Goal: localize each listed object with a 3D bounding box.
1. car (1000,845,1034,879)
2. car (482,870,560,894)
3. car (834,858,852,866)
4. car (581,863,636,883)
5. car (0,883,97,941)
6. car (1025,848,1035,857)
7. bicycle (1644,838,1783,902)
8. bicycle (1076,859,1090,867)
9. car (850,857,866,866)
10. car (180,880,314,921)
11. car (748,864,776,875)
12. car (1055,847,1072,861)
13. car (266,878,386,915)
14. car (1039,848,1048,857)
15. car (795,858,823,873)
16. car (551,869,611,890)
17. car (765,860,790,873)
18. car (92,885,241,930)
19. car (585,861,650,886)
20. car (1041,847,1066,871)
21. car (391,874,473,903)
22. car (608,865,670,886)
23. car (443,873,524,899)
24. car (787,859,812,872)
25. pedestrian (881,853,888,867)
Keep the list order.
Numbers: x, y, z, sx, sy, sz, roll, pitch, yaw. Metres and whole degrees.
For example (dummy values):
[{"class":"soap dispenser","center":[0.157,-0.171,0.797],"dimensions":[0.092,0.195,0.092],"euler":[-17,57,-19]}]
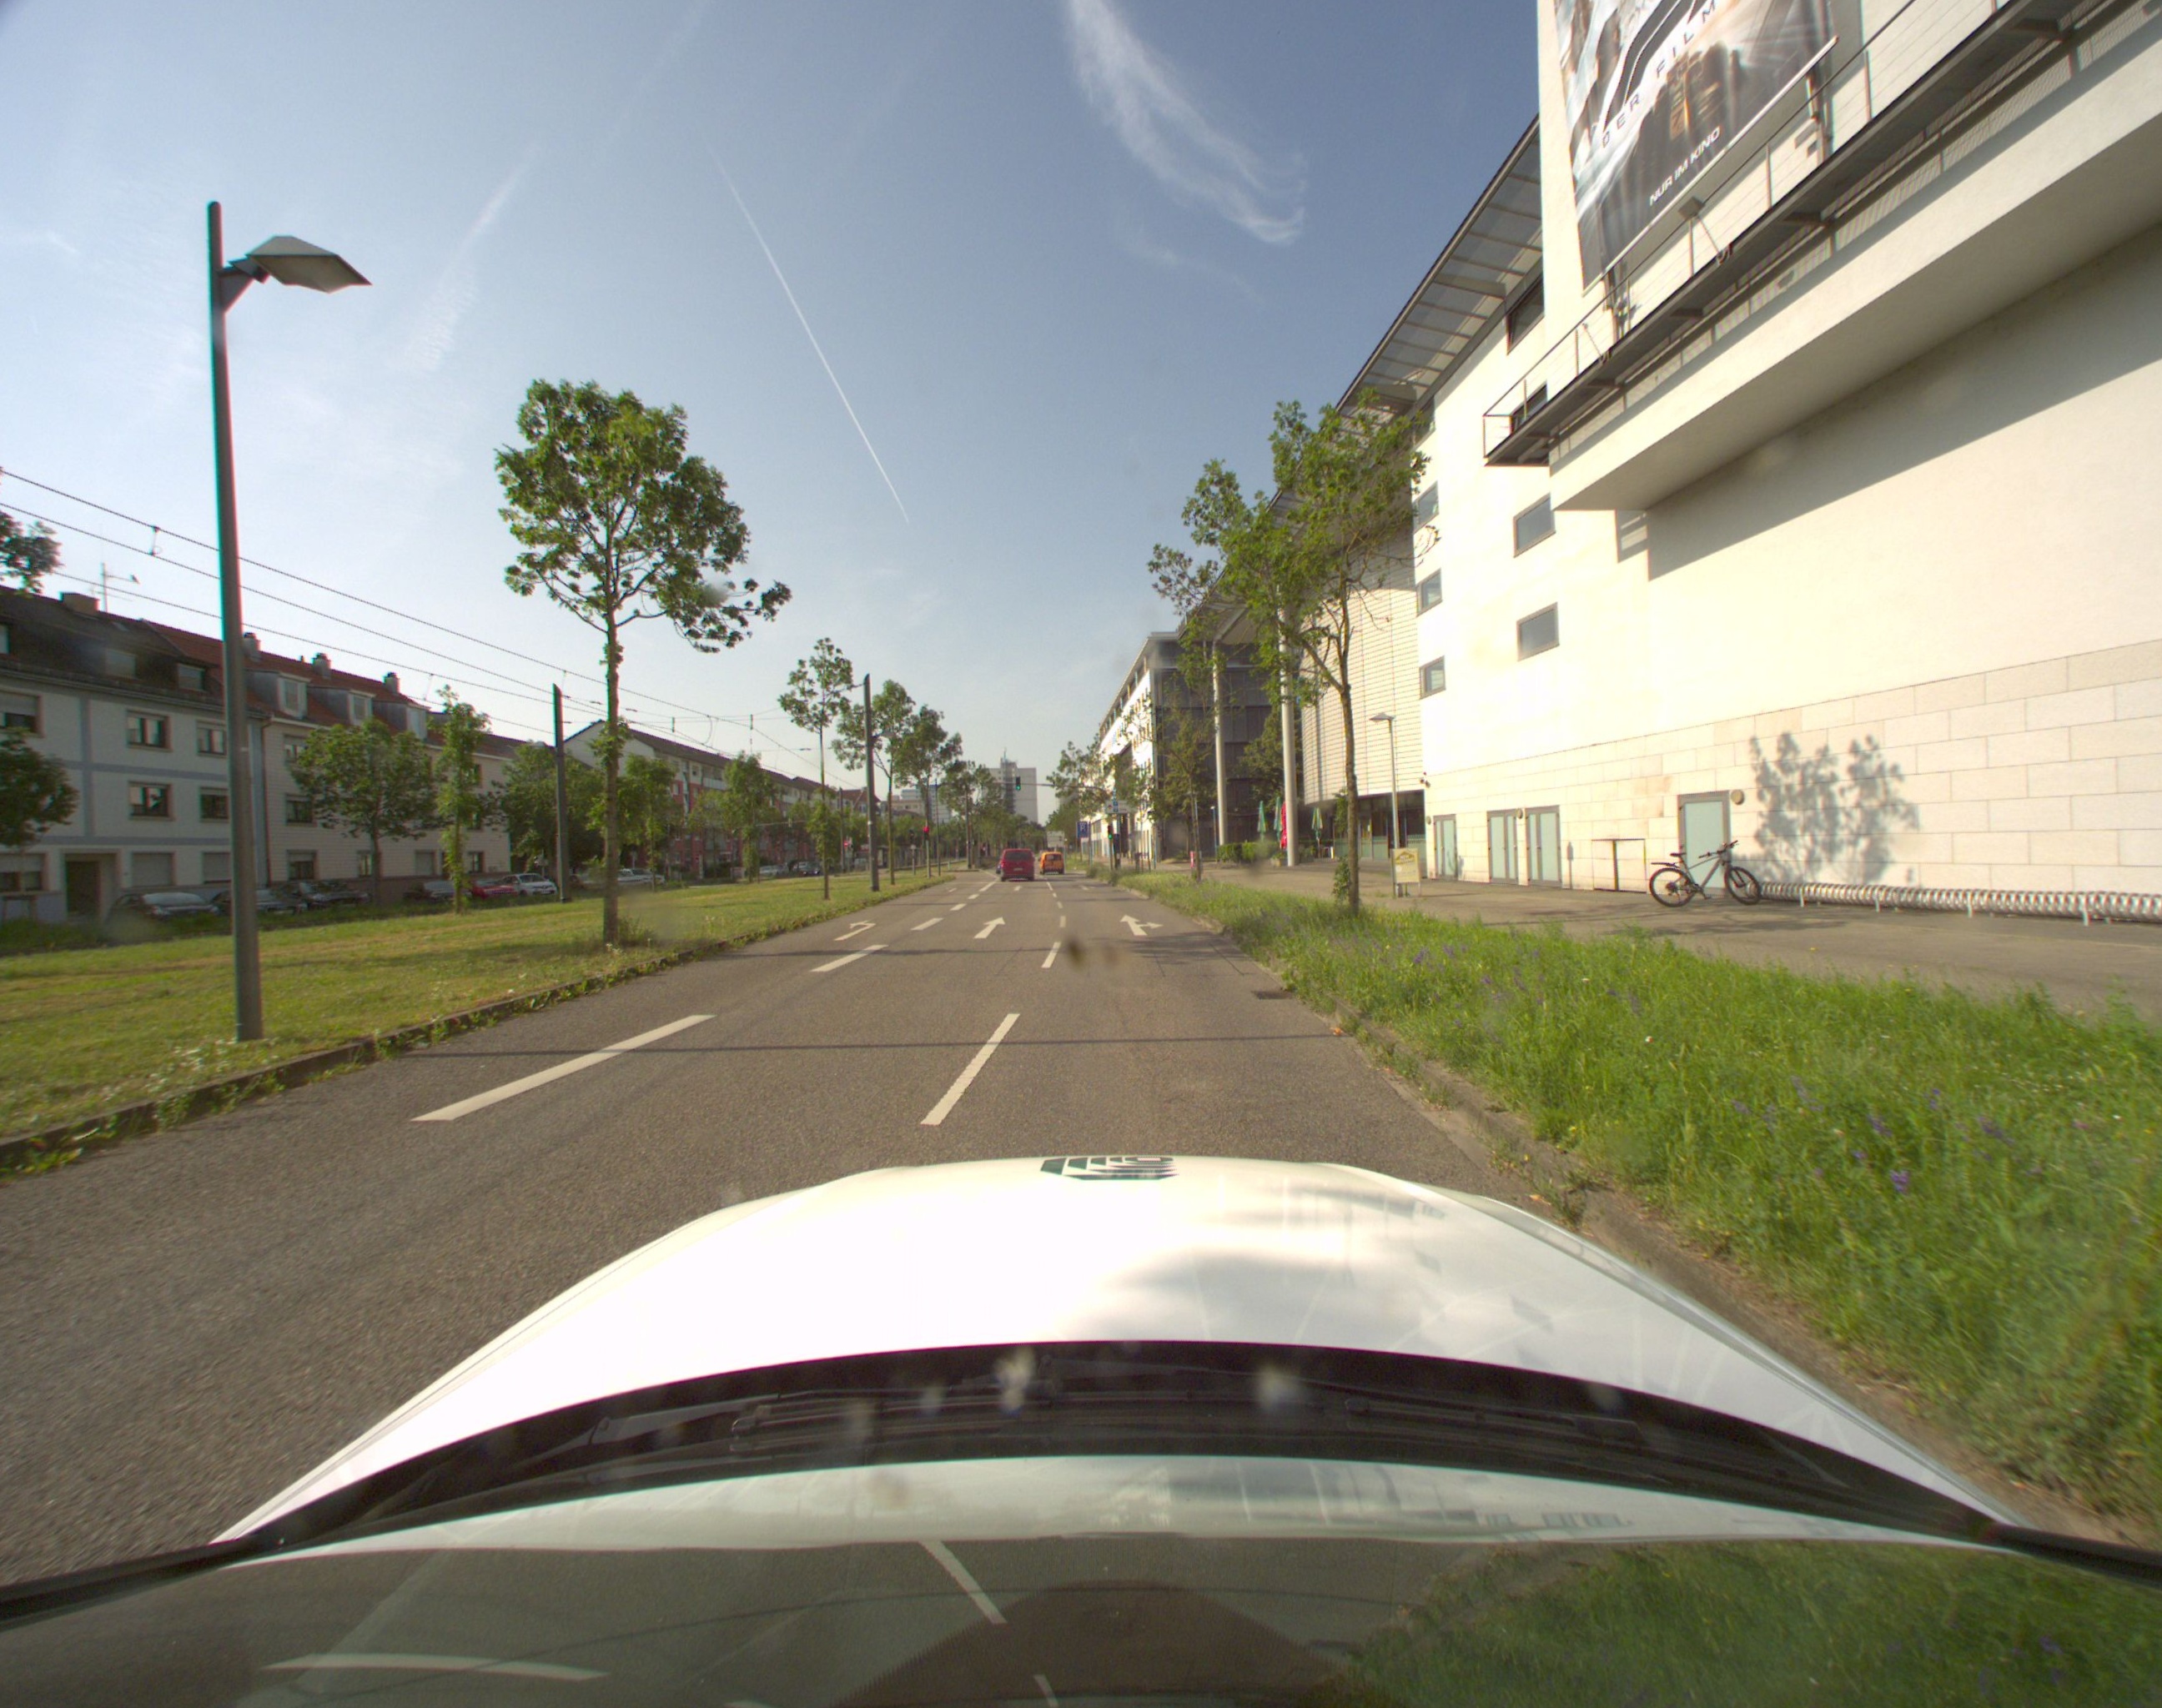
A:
[{"class":"car","center":[-3.710,0.430,47.242],"dimensions":[1.871,1.853,3.993],"euler":[-2,0,-5]},{"class":"car","center":[-31.208,1.526,45.386],"dimensions":[3.950,1.269,1.898],"euler":[0,0,26]},{"class":"car","center":[-38.678,1.299,132.525],"dimensions":[1.977,1.360,4.063],"euler":[0,0,-4]},{"class":"car","center":[-45.357,1.790,78.245],"dimensions":[3.978,1.695,1.998],"euler":[-2,0,-3]},{"class":"car","center":[-29.080,1.539,22.282],"dimensions":[3.735,1.376,1.673],"euler":[0,0,22]},{"class":"car","center":[-11.350,-0.281,181.631],"dimensions":[1.990,2.013,3.993],"euler":[-2,0,-5]},{"class":"bicycle","center":[11.527,0.284,14.875],"dimensions":[2.001,1.102,0.675],"euler":[-2,0,0]},{"class":"bicycle","center":[0.225,0.900,79.064],"dimensions":[1.265,0.632,0.521],"euler":[-8,-1,3]},{"class":"car","center":[-39.198,1.319,143.207],"dimensions":[1.977,1.513,4.274],"euler":[0,0,-4]},{"class":"car","center":[-30.320,1.648,29.621],"dimensions":[3.952,1.288,2.011],"euler":[0,0,22]},{"class":"car","center":[-36.053,1.720,92.111],"dimensions":[1.830,1.147,4.158],"euler":[0,0,-4]},{"class":"car","center":[-1.973,-0.037,92.421],"dimensions":[1.717,1.519,3.775],"euler":[-2,0,-4]},{"class":"car","center":[-29.836,1.640,32.187],"dimensions":[4.010,1.288,2.011],"euler":[0,0,23]},{"class":"car","center":[-8.454,-0.400,182.843],"dimensions":[1.989,2.013,3.995],"euler":[-2,0,-4]},{"class":"car","center":[-32.631,1.387,97.799],"dimensions":[1.989,1.706,4.708],"euler":[-1,0,-3]},{"class":"car","center":[-32.150,1.615,52.369],"dimensions":[3.948,1.178,2.013],"euler":[0,0,37]},{"class":"car","center":[-36.500,1.499,97.944],"dimensions":[1.830,1.471,3.821],"euler":[0,0,-4]},{"class":"car","center":[-30.188,1.753,26.891],"dimensions":[3.952,1.288,2.011],"euler":[-2,0,22]},{"class":"car","center":[-31.434,1.350,55.207],"dimensions":[4.407,1.514,2.013],"euler":[-2,0,33]},{"class":"car","center":[-2.130,0.364,62.483],"dimensions":[1.871,1.696,3.969],"euler":[-2,0,-3]},{"class":"car","center":[-30.993,1.618,38.858],"dimensions":[3.949,1.235,1.710],"euler":[0,0,29]},{"class":"car","center":[-31.912,1.524,58.812],"dimensions":[4.297,1.463,1.976],"euler":[0,0,29]},{"class":"car","center":[-31.049,1.642,42.318],"dimensions":[3.949,1.258,1.887],"euler":[0,0,29]},{"class":"car","center":[-37.259,1.519,107.913],"dimensions":[1.977,1.556,4.530],"euler":[0,0,-4]},{"class":"pedestrian","center":[-23.474,0.698,97.236],"dimensions":[0.671,1.653,0.792],"euler":[-2,0,-8]}]
